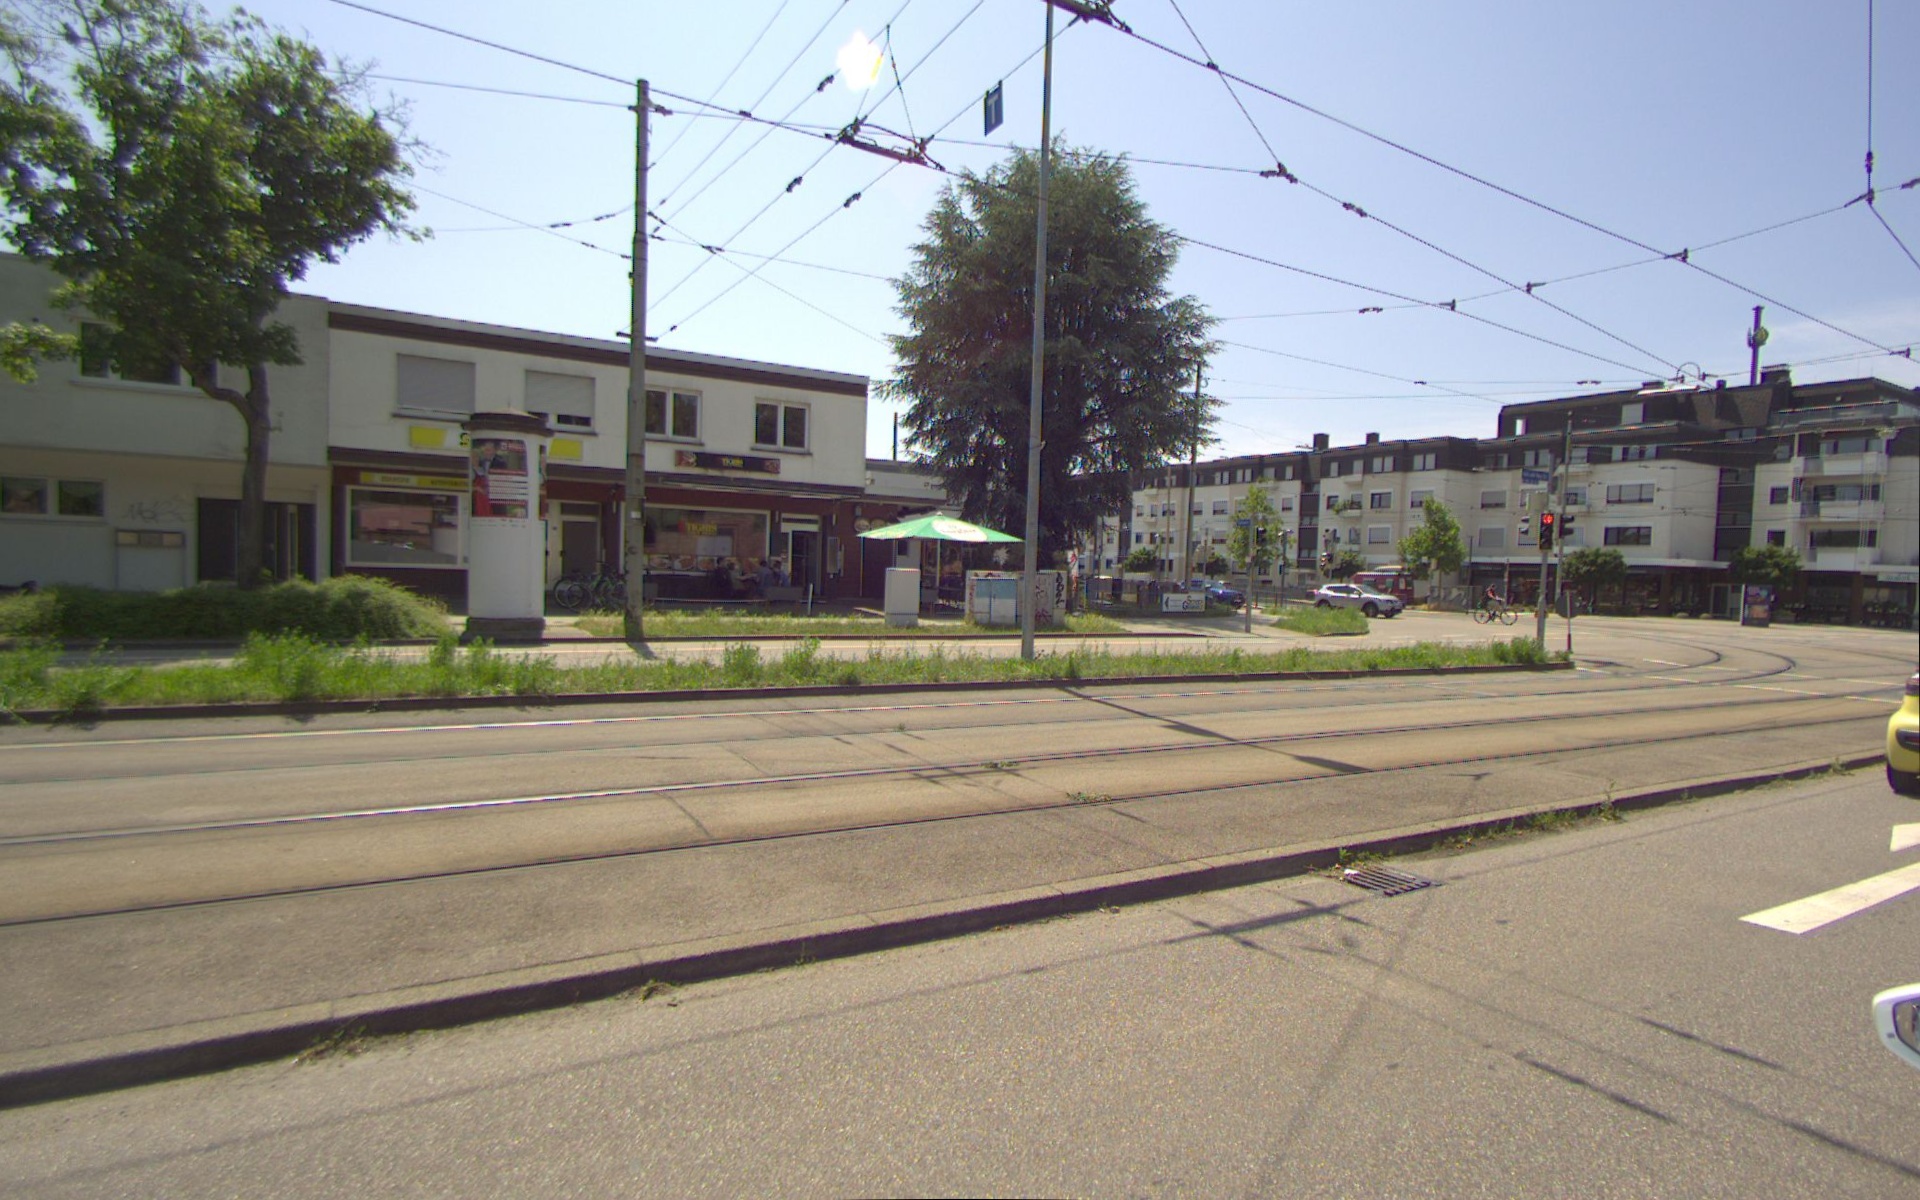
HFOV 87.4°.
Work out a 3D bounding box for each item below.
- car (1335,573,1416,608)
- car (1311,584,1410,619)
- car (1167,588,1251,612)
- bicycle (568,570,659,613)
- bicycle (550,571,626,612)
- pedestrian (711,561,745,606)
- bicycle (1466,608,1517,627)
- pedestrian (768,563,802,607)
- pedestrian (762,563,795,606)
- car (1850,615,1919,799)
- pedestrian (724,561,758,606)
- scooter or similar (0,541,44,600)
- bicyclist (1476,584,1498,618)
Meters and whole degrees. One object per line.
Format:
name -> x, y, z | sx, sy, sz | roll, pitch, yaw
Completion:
car -> 29.567, -0.712, 71.635 | 2.219, 2.372, 5.038 | 2, 0, -31
car -> 19.871, 0.064, 49.927 | 1.925, 1.605, 4.100 | 2, 0, -42
car -> 14.491, -0.028, 58.703 | 1.919, 1.253, 4.740 | 2, 0, -33
bicycle -> -8.523, -0.196, 24.734 | 2.006, 0.992, 0.607 | 2, 0, -31
bicycle -> -9.524, -0.212, 25.734 | 1.738, 0.992, 0.536 | 2, 0, -31
pedestrian -> -6.941, -0.494, 30.006 | 0.832, 1.285, 0.586 | 2, 0, -30
bicycle -> 24.054, 0.776, 45.475 | 1.956, 0.794, 0.464 | 2, 0, 39
pedestrian -> -5.251, -0.449, 30.201 | 0.832, 1.285, 0.586 | 2, 0, -30
pedestrian -> -5.565, -0.468, 30.753 | 0.832, 1.285, 0.586 | 2, 0, -30
car -> 9.319, 0.882, 8.550 | 3.254, 1.464, 1.715 | 0, 0, -31
pedestrian -> -6.433, -0.482, 29.505 | 0.832, 1.285, 0.586 | 2, 0, -30
scooter or similar -> -20.135, -0.633, 21.059 | 1.321, 1.207, 0.455 | 2, 0, -10
bicyclist -> 23.905, 0.031, 45.552 | 0.741, 1.521, 0.480 | 2, 0, 39
